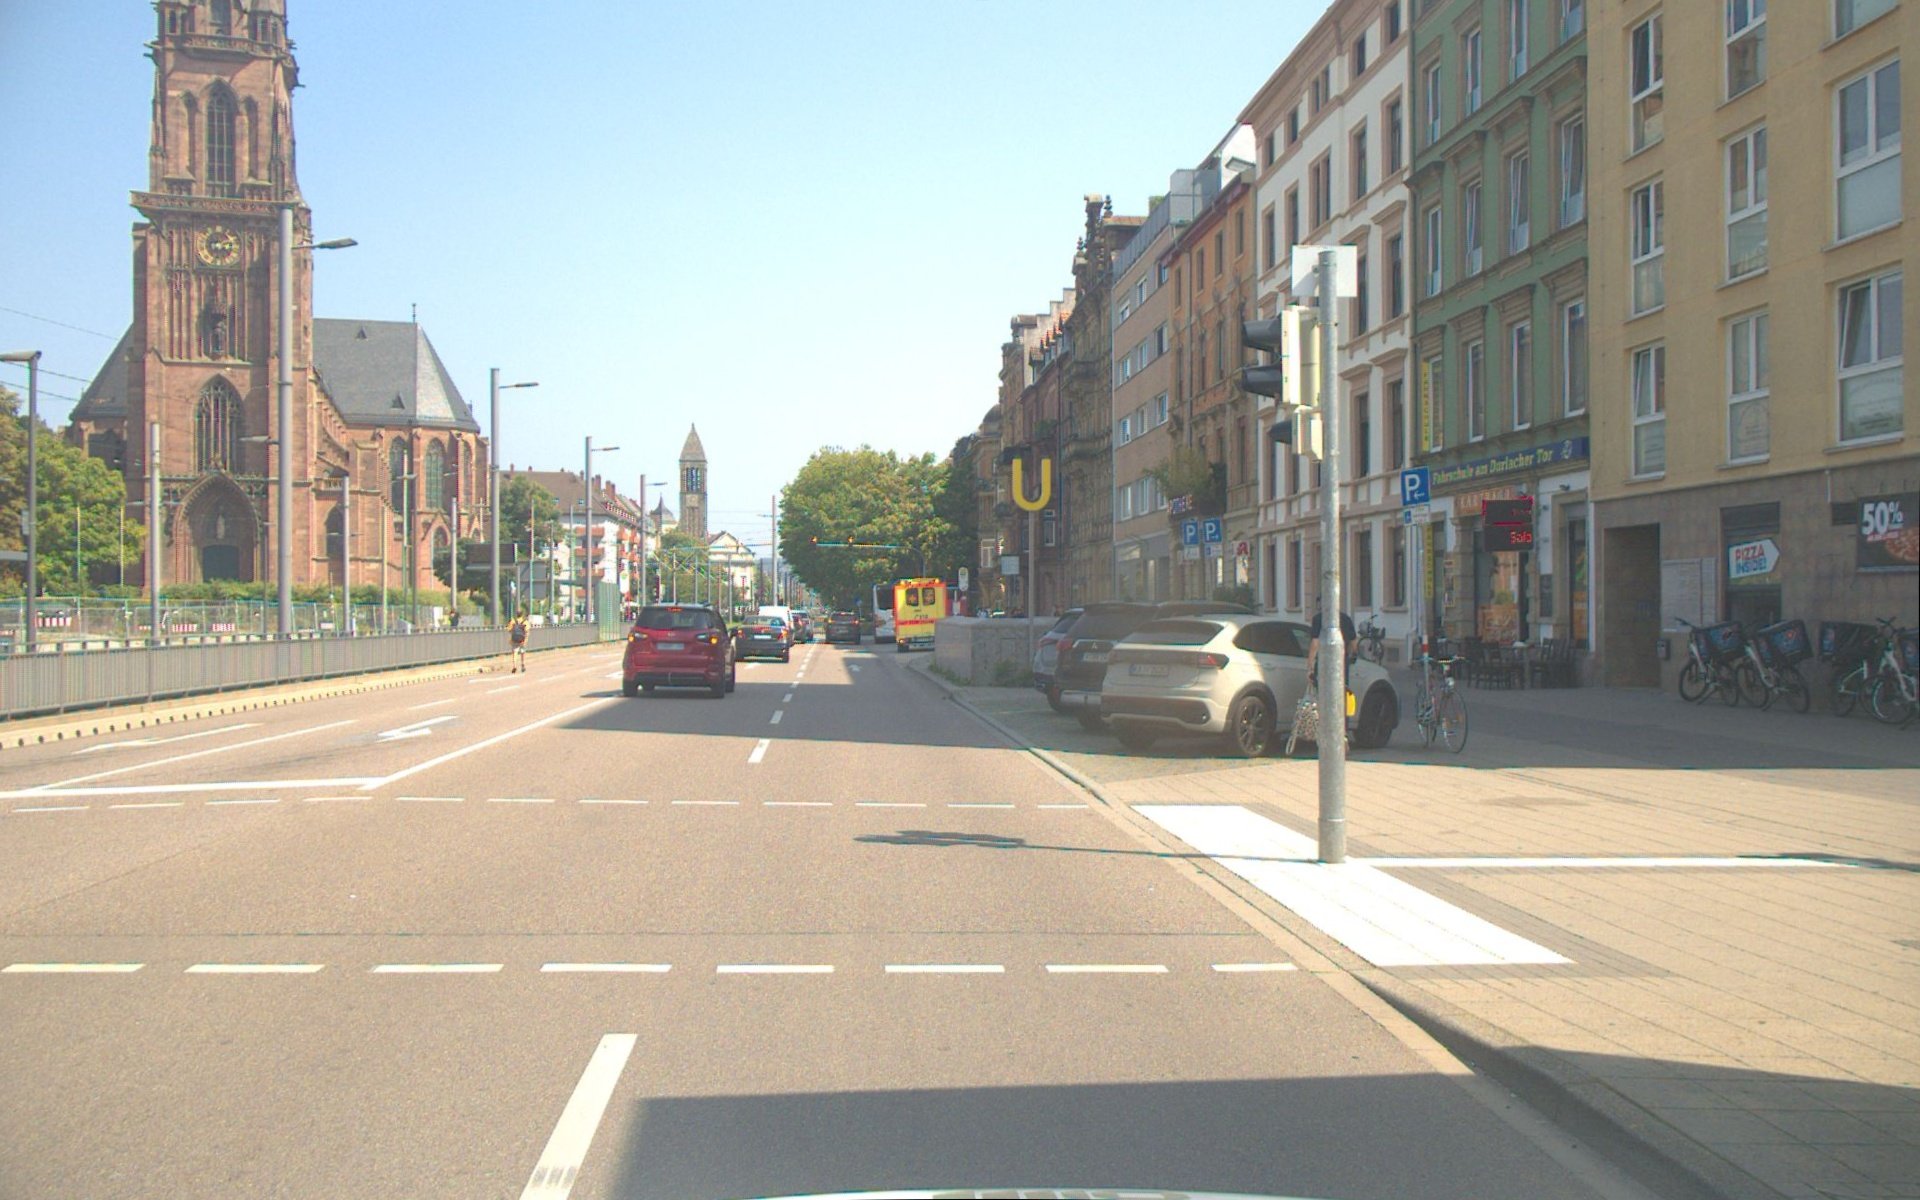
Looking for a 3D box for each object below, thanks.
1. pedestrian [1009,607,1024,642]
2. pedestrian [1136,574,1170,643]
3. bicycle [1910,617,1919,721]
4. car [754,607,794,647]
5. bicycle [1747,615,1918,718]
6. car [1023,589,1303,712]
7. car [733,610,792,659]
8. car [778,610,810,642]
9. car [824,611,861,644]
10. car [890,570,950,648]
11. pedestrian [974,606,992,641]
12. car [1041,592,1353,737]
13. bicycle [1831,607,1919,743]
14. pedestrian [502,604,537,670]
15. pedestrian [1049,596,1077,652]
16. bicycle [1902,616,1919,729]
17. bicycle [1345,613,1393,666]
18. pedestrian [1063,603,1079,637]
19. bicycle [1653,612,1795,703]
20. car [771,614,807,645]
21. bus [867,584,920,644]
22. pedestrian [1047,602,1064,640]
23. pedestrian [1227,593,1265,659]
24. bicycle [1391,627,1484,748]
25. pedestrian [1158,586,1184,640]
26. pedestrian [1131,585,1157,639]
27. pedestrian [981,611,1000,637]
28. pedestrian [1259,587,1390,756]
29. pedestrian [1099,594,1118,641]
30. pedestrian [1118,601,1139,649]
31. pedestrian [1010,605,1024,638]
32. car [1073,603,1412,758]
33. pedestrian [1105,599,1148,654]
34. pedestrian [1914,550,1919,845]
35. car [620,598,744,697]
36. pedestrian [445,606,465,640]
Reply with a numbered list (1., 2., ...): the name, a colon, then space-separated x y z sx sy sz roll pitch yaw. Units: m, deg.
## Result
1. pedestrian: 2.732 1.172 79.713 0.683 1.696 0.602 0 -1 -3
2. pedestrian: 4.860 0.222 41.685 0.657 1.715 0.942 -1 0 -5
3. bicycle: 11.978 0.839 19.427 0.401 1.260 1.824 0 0 -7
4. car: -8.592 1.278 76.627 1.755 1.811 3.994 0 -1 -6
5. bicycle: 11.423 0.836 21.770 0.920 1.260 2.421 0 0 -2
6. car: 3.248 0.711 25.751 2.009 1.744 4.635 -1 0 43
7. car: -6.112 1.042 51.346 1.756 1.456 3.994 0 0 -6
8. car: -9.332 1.470 92.951 1.755 1.728 3.994 0 -1 -6
9. car: -6.126 1.435 85.979 1.755 1.707 3.994 0 -1 -6
10. car: -1.601 0.347 66.753 2.252 2.939 5.598 -1 0 -1
11. pedestrian: 1.088 1.124 79.256 0.682 1.696 0.603 0 -1 21
12. car: 3.225 0.771 21.881 1.952 1.717 4.363 -1 0 43
13. bicycle: 11.177 0.803 19.060 3.334 1.429 0.890 0 0 -42
14. pedestrian: -11.995 1.002 45.063 0.746 1.782 1.067 0 -1 -6
15. pedestrian: 3.314 0.769 53.396 0.832 1.759 0.971 -1 1 2
16. bicycle: 11.361 0.829 19.299 0.579 1.260 1.543 -1 0 27
17. bicycle: 10.066 0.955 40.816 0.470 1.166 2.470 0 2 -3
18. pedestrian: 5.102 0.916 76.064 0.631 1.519 0.788 0 -1 -5
19. bicycle: 11.203 0.811 24.355 0.920 1.260 2.421 0 0 -2
20. car: -8.720 1.512 84.416 1.755 1.498 3.994 0 -1 -6
21. bus: -3.779 0.762 91.390 2.484 3.085 12.423 0 -1 -4
22. pedestrian: 4.393 0.975 76.015 0.631 1.714 0.788 0 -1 -5
23. pedestrian: 8.336 0.763 48.182 0.827 1.878 0.684 -2 0 -14
24. bicycle: 5.488 0.983 19.107 0.463 1.319 1.790 -1 -1 -2
25. pedestrian: 7.116 0.430 55.903 0.670 1.805 1.016 0 0 -5
26. pedestrian: 6.211 0.391 55.901 0.670 1.805 1.016 0 0 -5
27. pedestrian: 2.173 1.698 118.100 1.224 1.782 1.525 0 1 -4
28. pedestrian: 3.878 0.746 17.612 1.024 1.734 0.895 1 -1 -31
29. pedestrian: 5.820 0.690 64.739 0.566 1.781 0.678 -2 -1 -5
30. pedestrian: 6.605 0.987 64.708 0.588 1.826 0.879 -2 -1 -5
31. pedestrian: 3.004 1.130 87.201 0.683 1.696 1.064 0 -1 -3
32. car: 3.243 0.862 18.650 3.751 1.526 1.781 2 0 -41
33. pedestrian: 4.957 0.786 49.311 0.844 1.609 0.958 0 -1 -38
34. pedestrian: 6.423 0.612 10.011 0.803 1.839 0.813 1 -1 -4
35. car: -4.930 0.813 29.781 1.727 1.646 4.080 0 0 -3
36. pedestrian: -26.637 1.212 87.249 0.813 1.782 0.720 0 -1 -4
